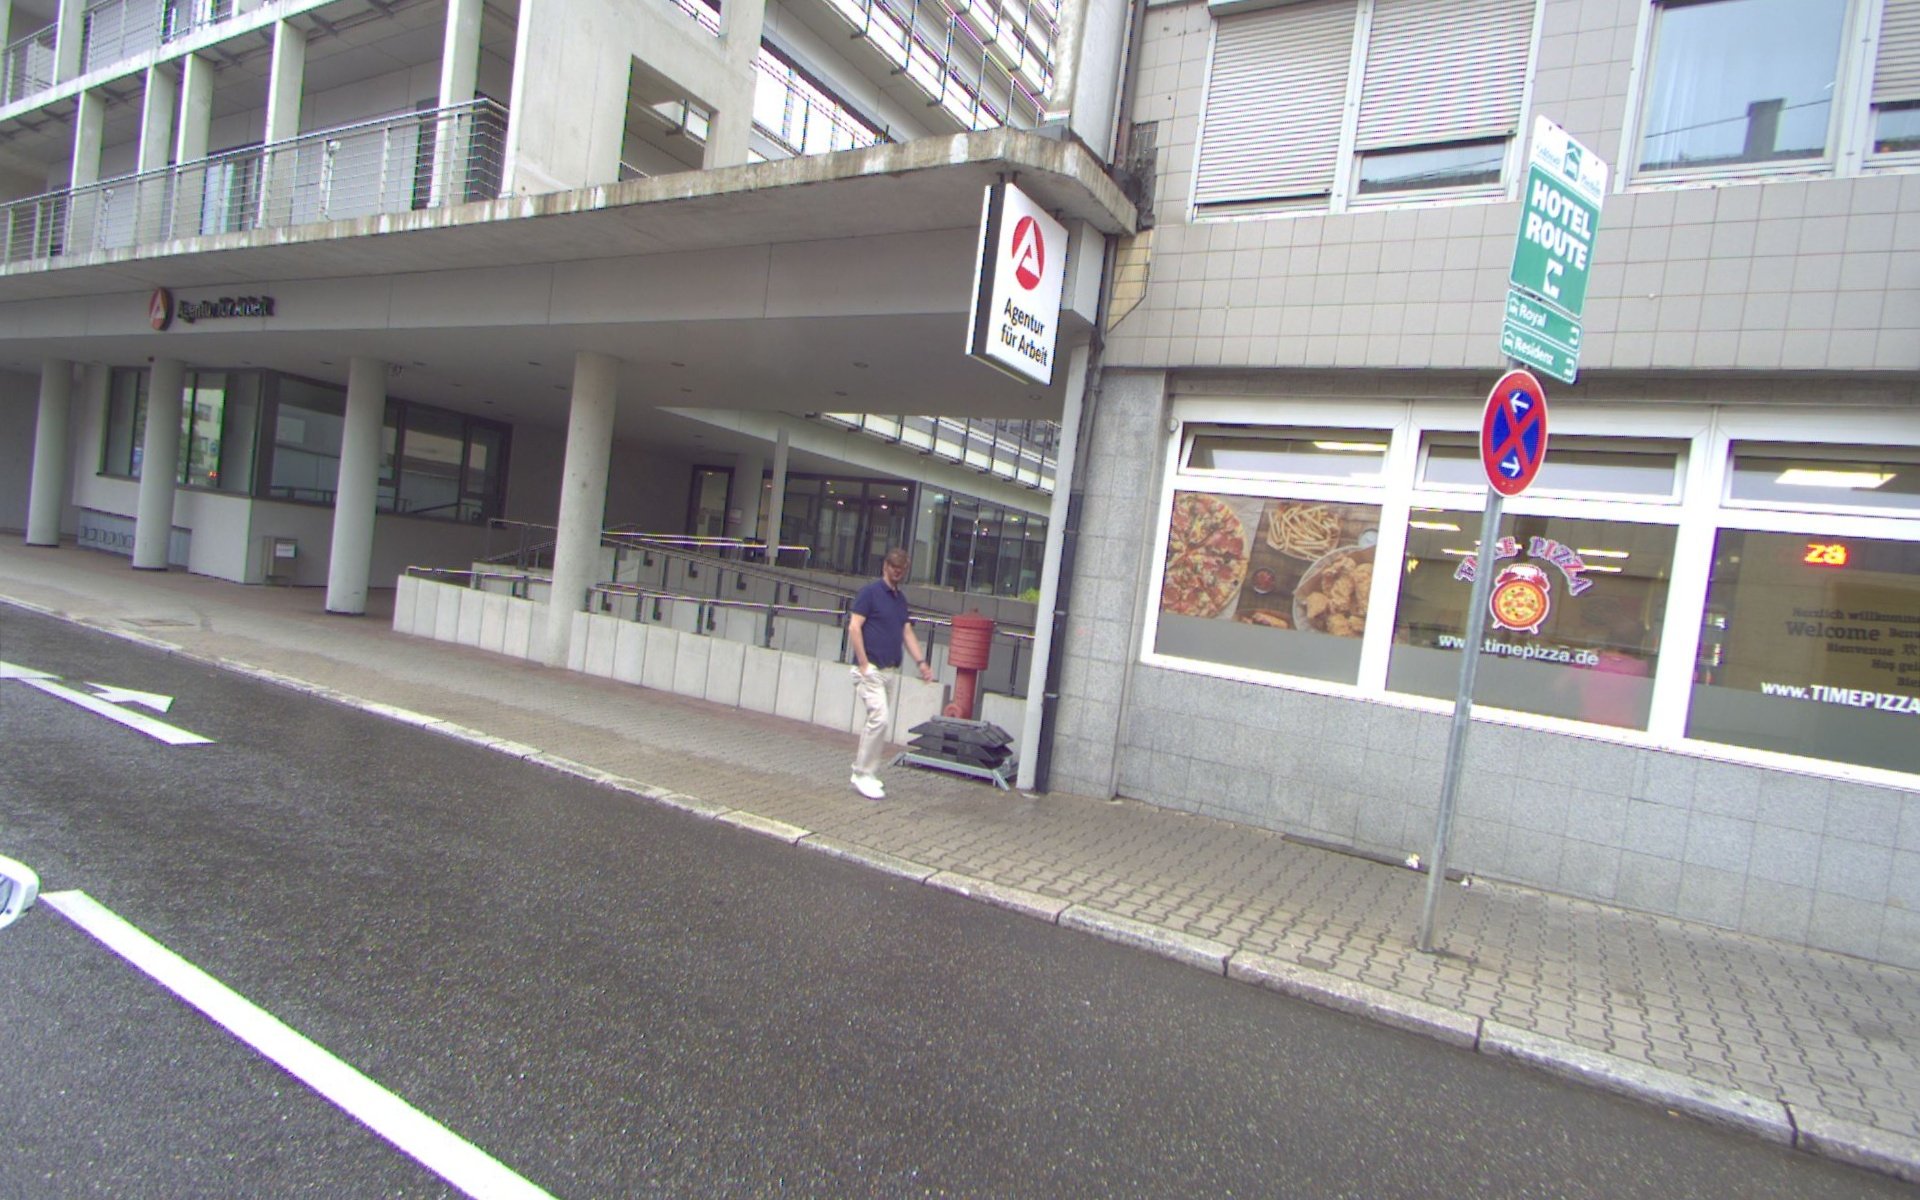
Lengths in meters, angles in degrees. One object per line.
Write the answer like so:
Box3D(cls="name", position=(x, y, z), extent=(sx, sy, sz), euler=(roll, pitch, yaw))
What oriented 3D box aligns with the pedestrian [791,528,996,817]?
Box3D(cls="pedestrian", position=(-0.489, 0.470, 7.387), extent=(1.101, 1.893, 0.868), euler=(6, 5, 32))
